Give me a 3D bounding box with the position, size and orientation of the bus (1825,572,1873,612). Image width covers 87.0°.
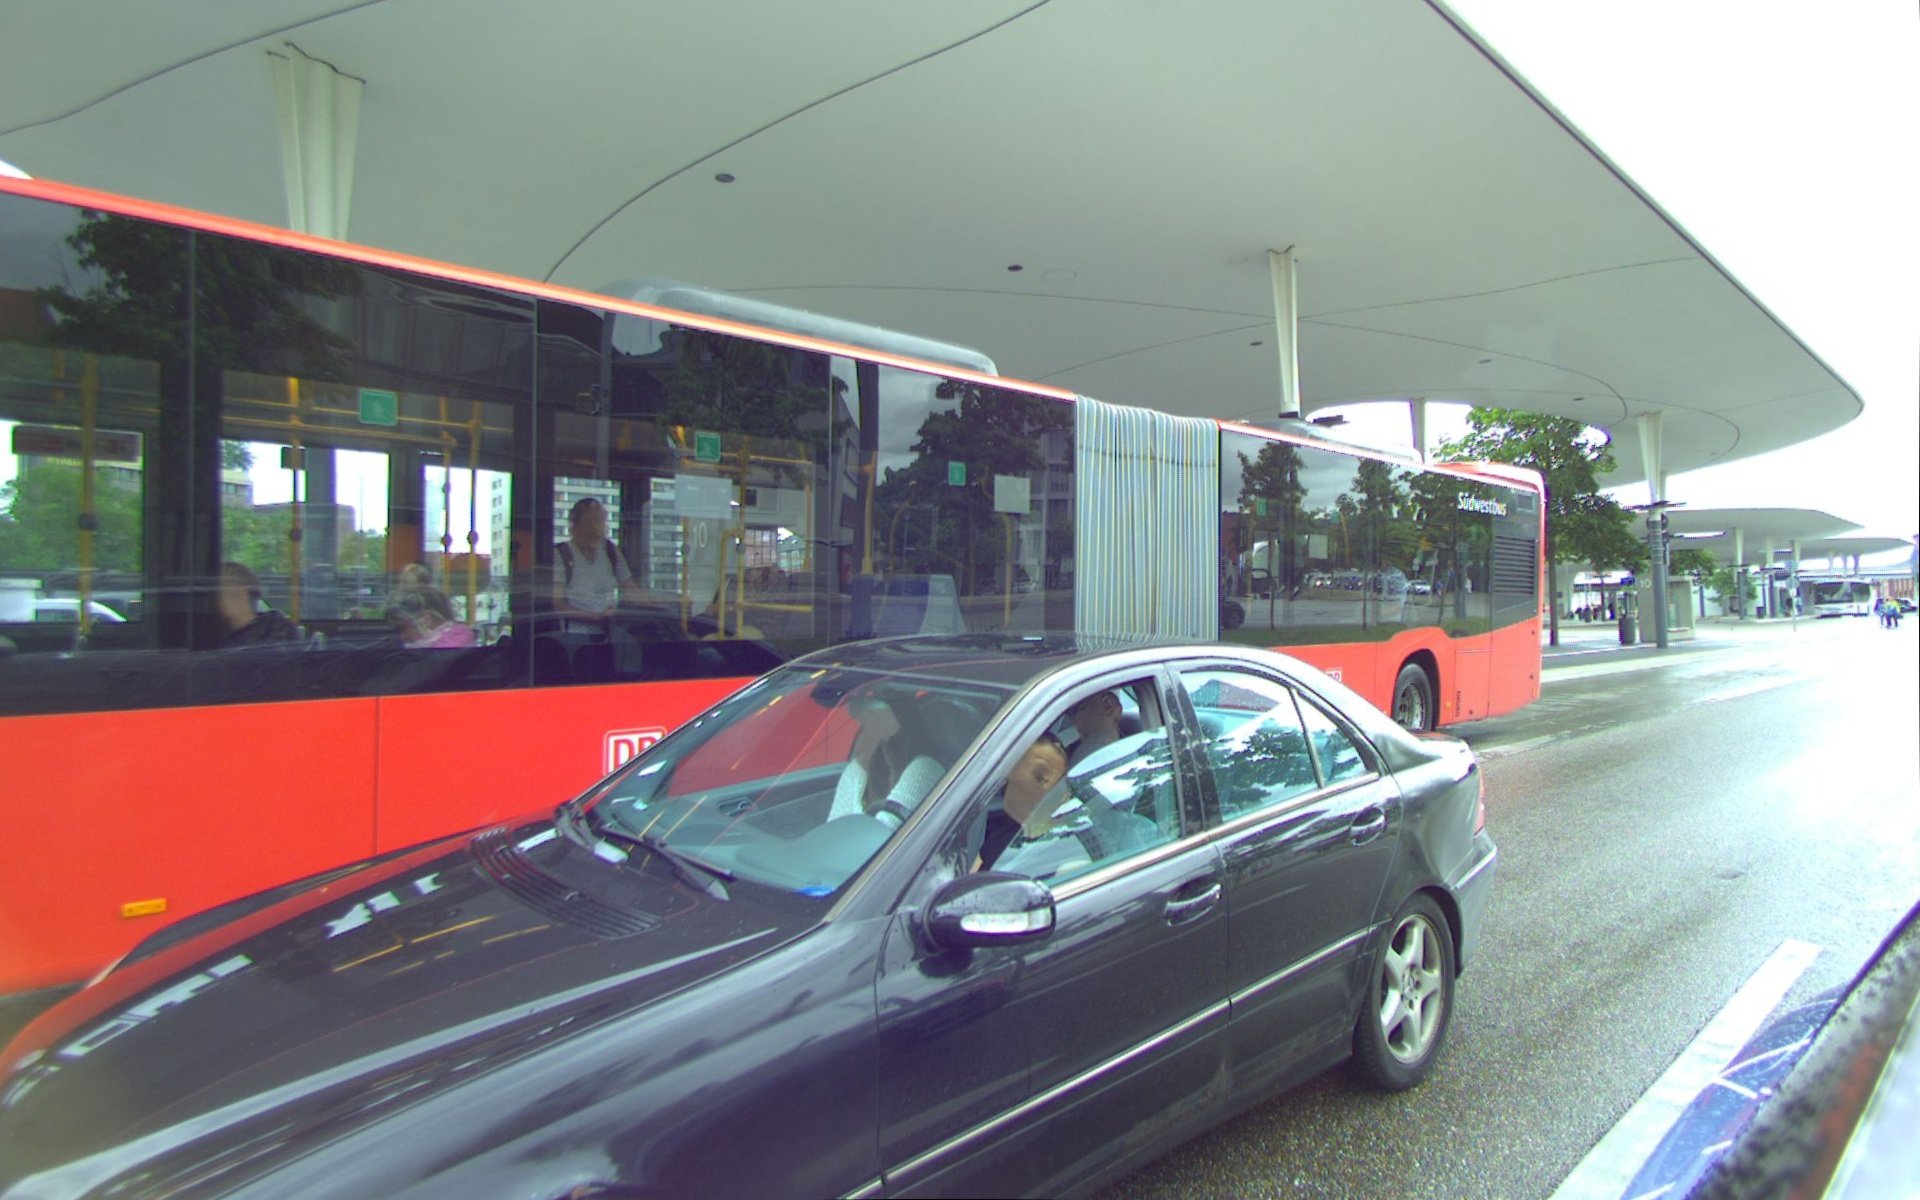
[{"bbox_3d":[75.370,-0.666,85.713,2.666,3.169,9.565,-1,-1,43],"label":"bus"}]

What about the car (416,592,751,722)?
[{"bbox_3d":[-5.511,0.756,15.133,4.356,1.670,1.803,0,-2,-41],"label":"car"}]

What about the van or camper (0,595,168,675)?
[{"bbox_3d":[-29.778,1.098,33.224,5.868,2.495,2.106,0,-1,-41],"label":"van or camper"}]

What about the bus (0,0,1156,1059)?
[{"bbox_3d":[-3.375,-0.226,4.458,10.016,3.214,2.747,0,0,-41],"label":"bus"}]

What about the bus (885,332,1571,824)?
[{"bbox_3d":[3.256,-0.159,10.291,7.978,3.214,2.747,0,0,-41],"label":"bus"}]

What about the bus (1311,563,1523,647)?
[{"bbox_3d":[20.000,0.194,43.744,12.131,3.147,3.001,0,-4,-39],"label":"bus"}]

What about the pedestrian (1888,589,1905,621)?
[{"bbox_3d":[48.945,0.263,52.913,0.577,1.645,0.576,0,-1,-41],"label":"pedestrian"}]

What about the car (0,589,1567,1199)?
[{"bbox_3d":[0.048,0.794,3.011,4.359,1.499,1.747,-1,-2,-42],"label":"car"}]

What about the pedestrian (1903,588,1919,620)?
[{"bbox_3d":[49.334,0.220,52.453,0.543,1.645,0.556,0,-1,-41],"label":"pedestrian"}]
